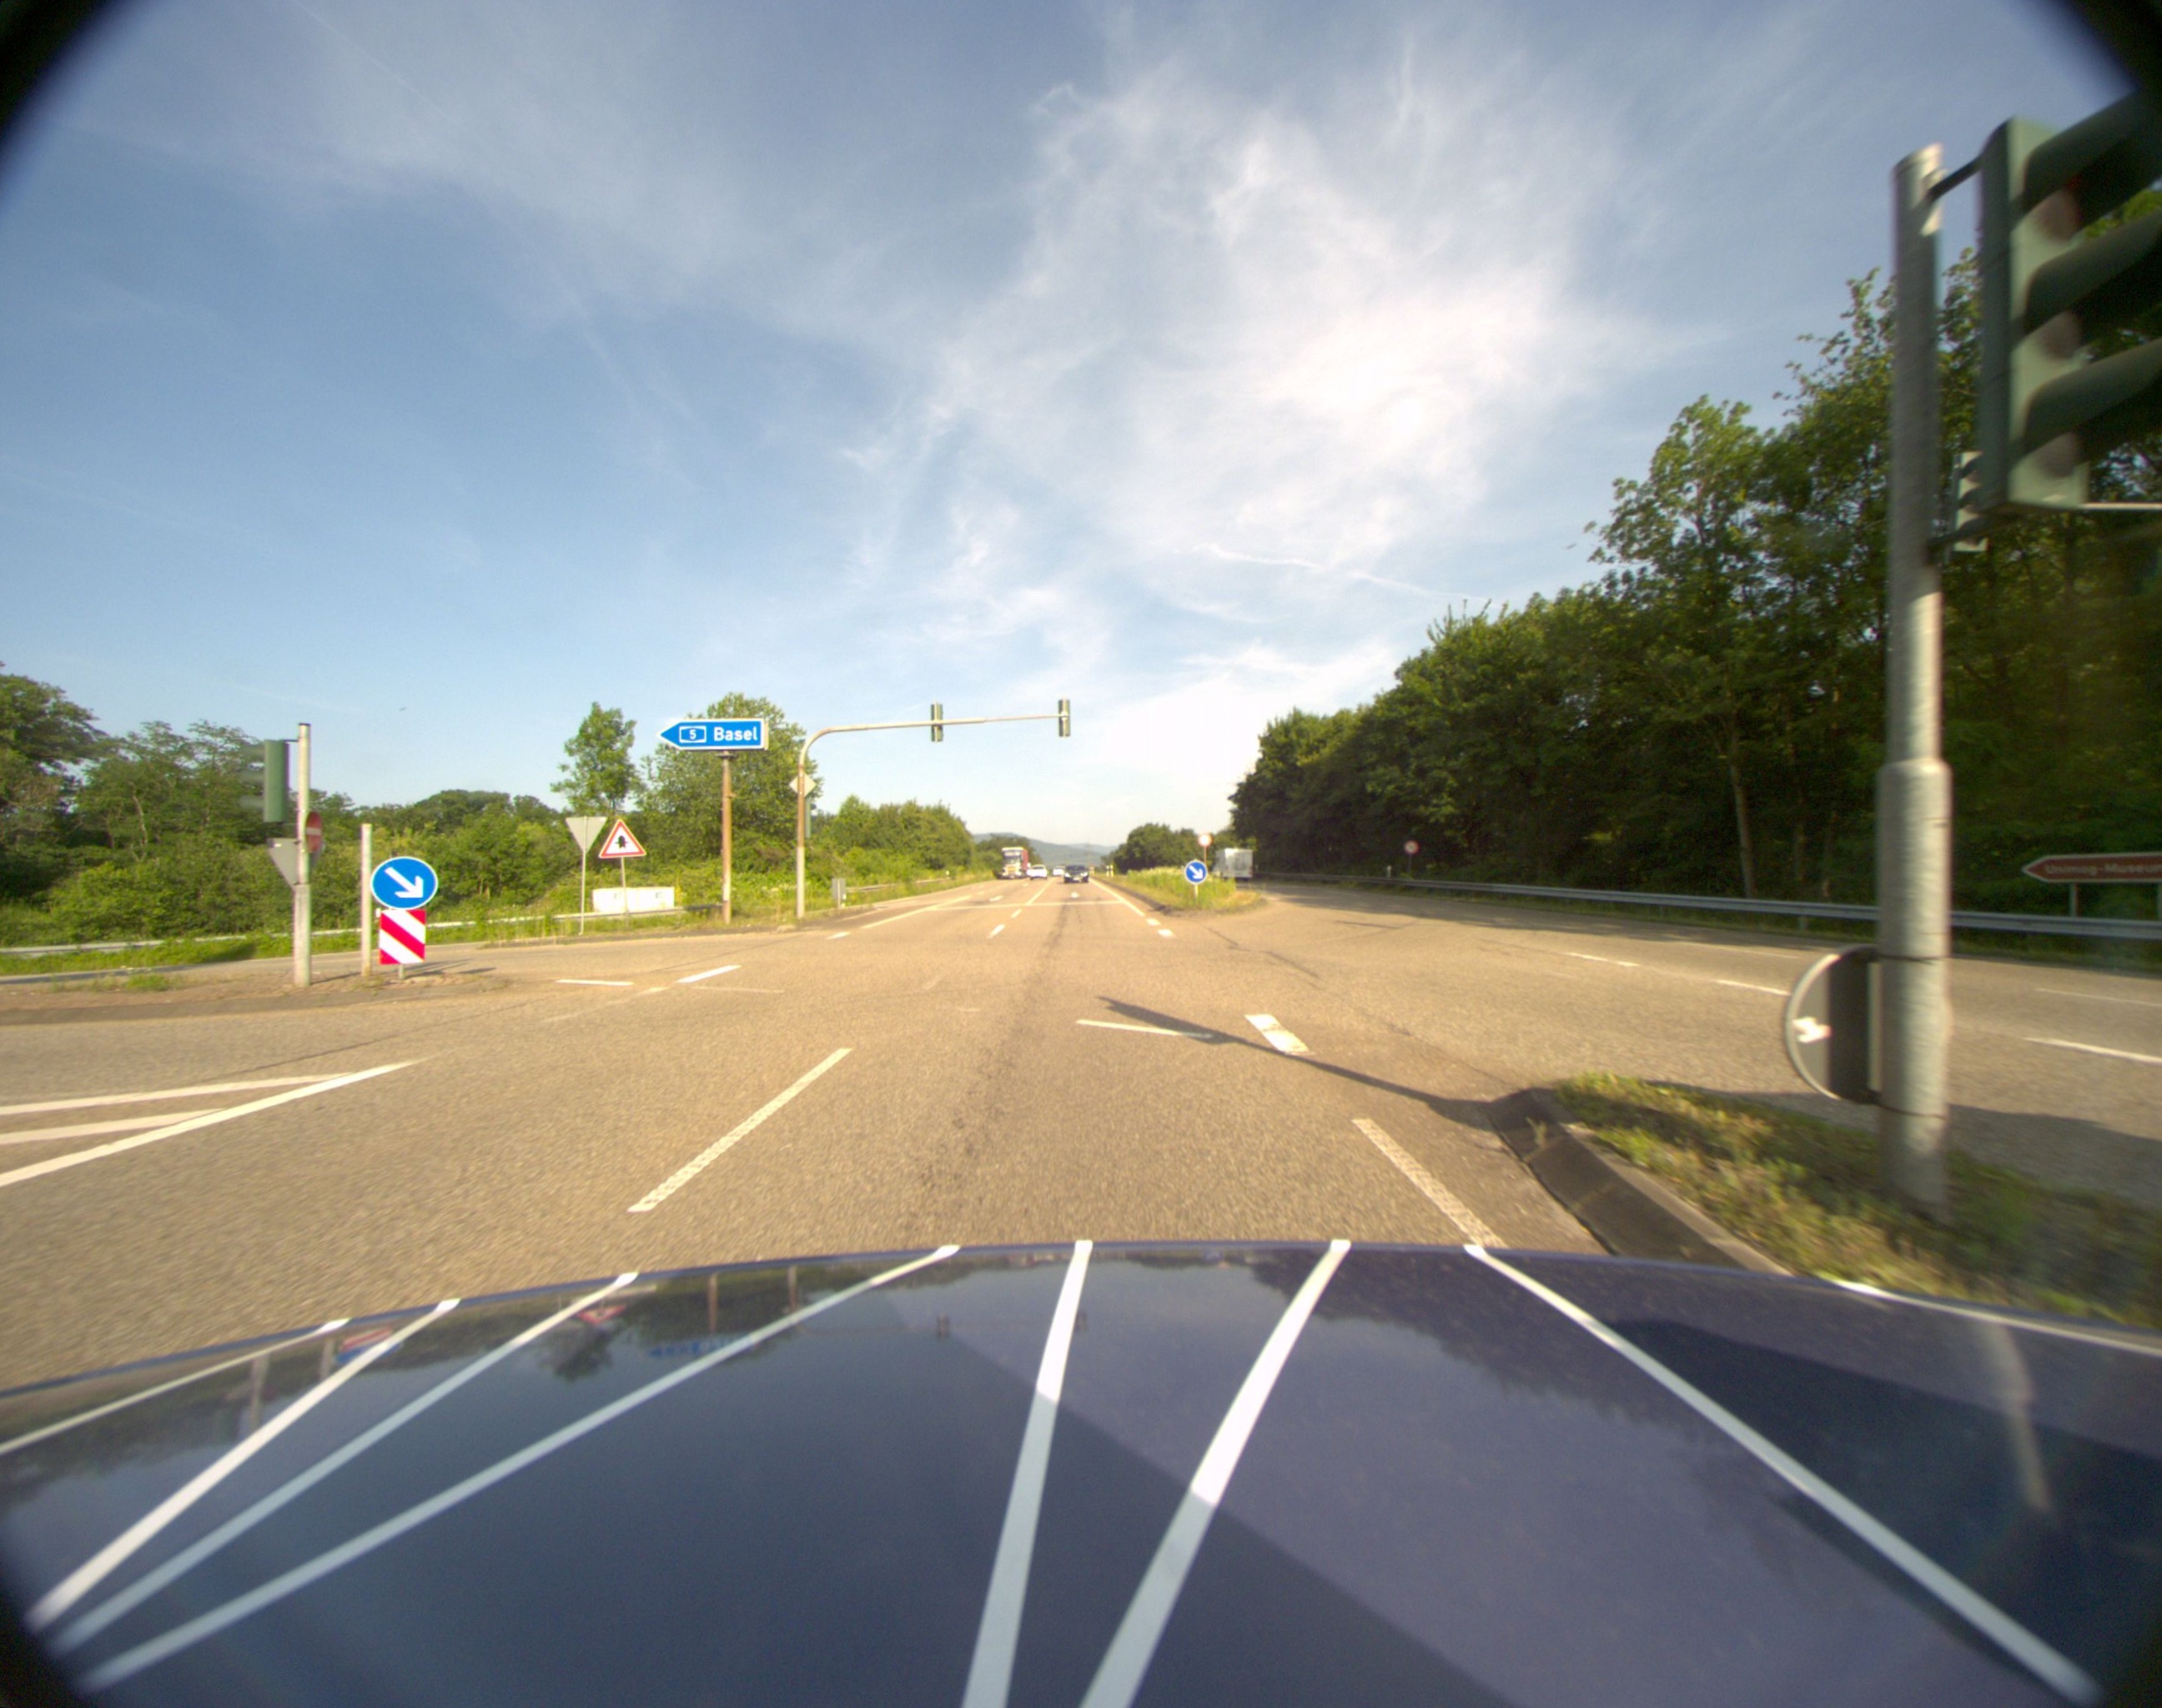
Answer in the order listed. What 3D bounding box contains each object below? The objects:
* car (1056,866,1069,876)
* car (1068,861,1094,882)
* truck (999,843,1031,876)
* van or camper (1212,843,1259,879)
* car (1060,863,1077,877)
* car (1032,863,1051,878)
[{"bbox_3d":[-3.062,2.828,127.727,1.999,1.632,3.999,-3,0,-3],"label":"car"},{"bbox_3d":[-0.024,1.338,59.400,1.862,1.452,4.569,-3,0,-1],"label":"car"},{"bbox_3d":[-8.697,0.742,101.944,3.197,3.995,14.562,-3,0,-1],"label":"truck"},{"bbox_3d":[12.504,0.543,62.110,2.419,2.695,6.437,1,0,0],"label":"van or camper"},{"bbox_3d":[-1.550,1.947,94.221,1.999,1.632,4.000,-3,0,-1],"label":"car"},{"bbox_3d":[-4.238,1.750,82.085,1.875,1.625,4.833,0,0,-2],"label":"car"}]
